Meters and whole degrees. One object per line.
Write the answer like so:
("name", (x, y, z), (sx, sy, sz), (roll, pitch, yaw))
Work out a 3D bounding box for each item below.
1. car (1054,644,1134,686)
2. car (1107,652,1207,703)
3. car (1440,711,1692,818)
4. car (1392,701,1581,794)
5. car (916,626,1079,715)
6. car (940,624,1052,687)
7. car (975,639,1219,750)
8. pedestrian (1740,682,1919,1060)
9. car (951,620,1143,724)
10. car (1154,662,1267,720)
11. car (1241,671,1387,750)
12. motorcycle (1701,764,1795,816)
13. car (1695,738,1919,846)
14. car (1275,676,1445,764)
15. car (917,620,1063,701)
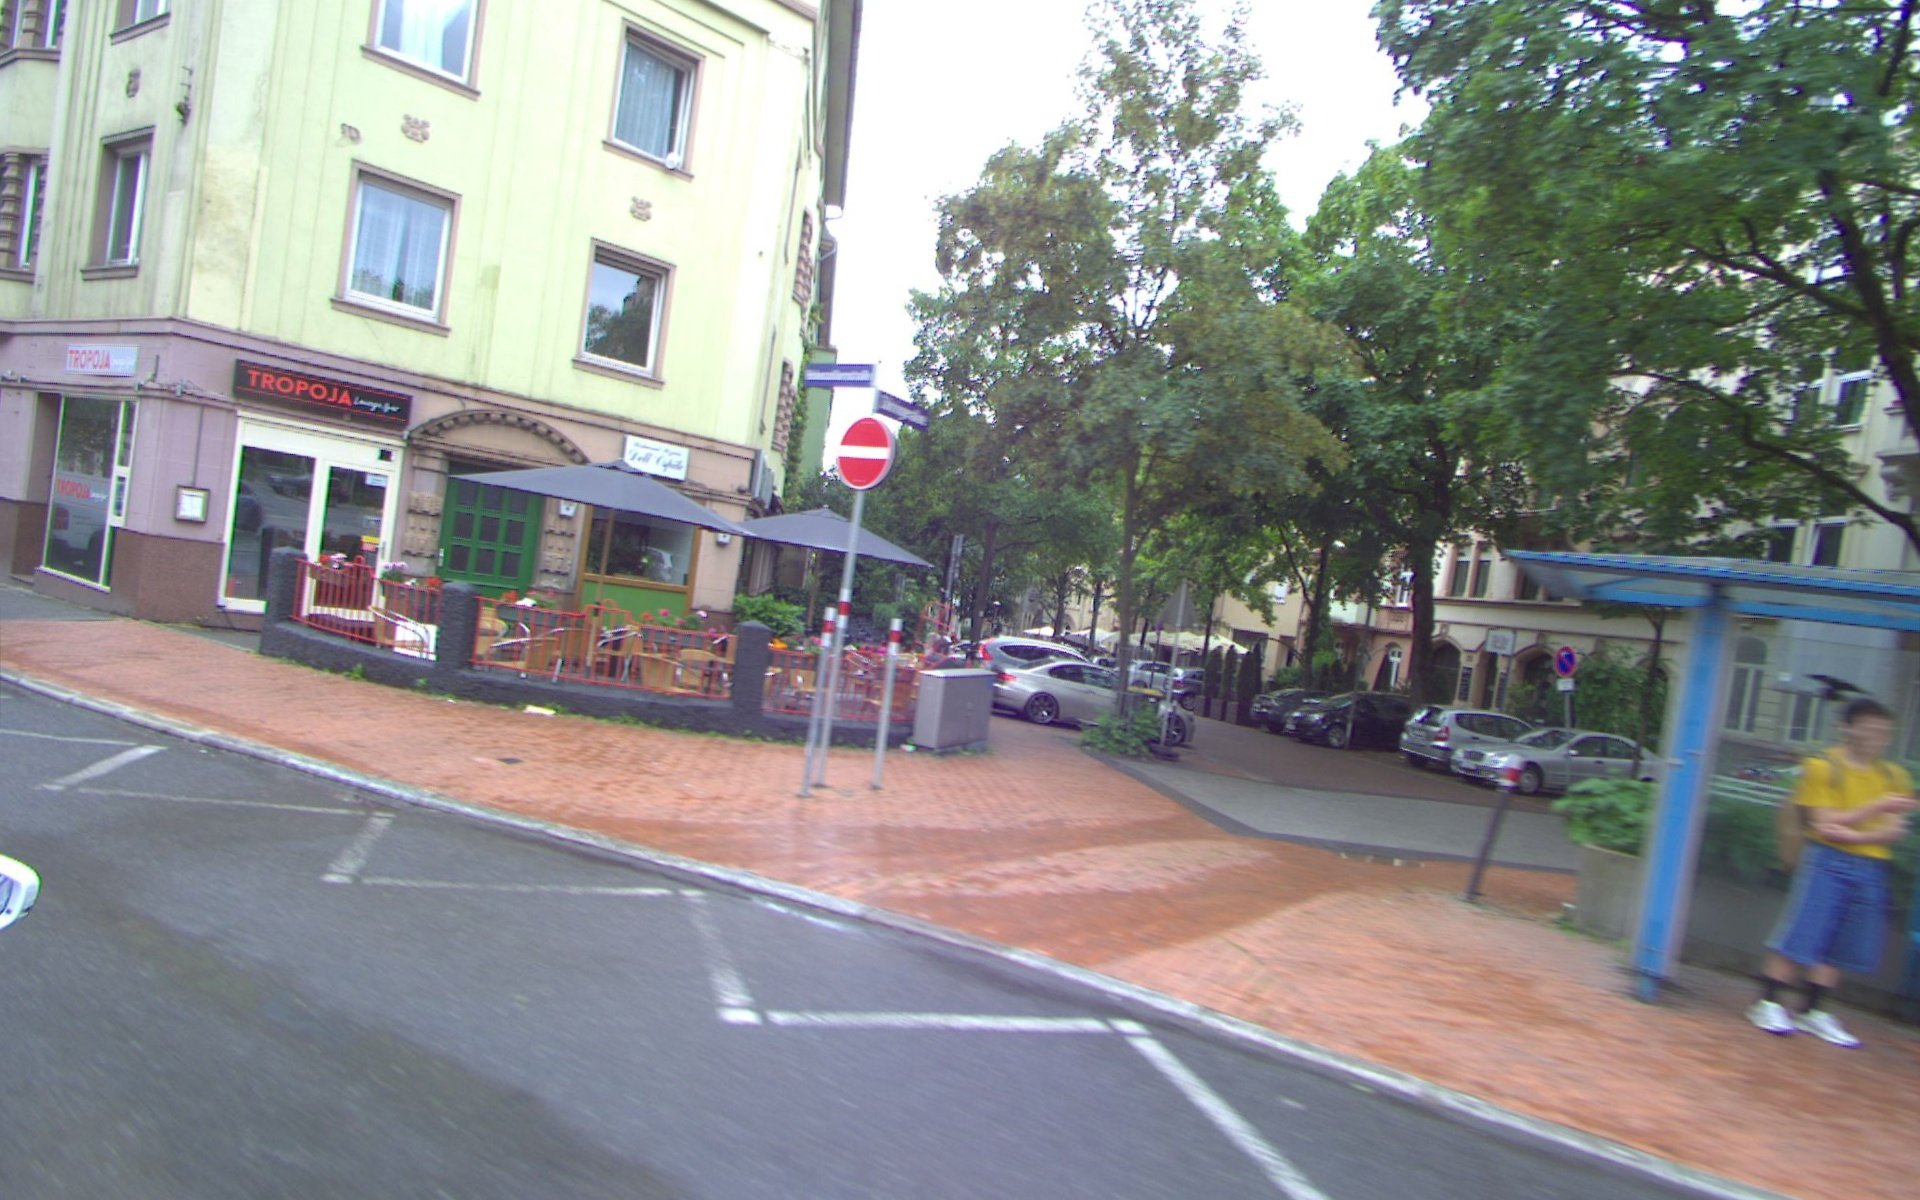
("car", (6.899, 3.350, 51.966), (3.591, 1.554, 1.680), (9, -2, -9))
("car", (8.229, 3.233, 42.173), (3.591, 1.554, 1.680), (9, -2, -9))
("car", (12.459, 3.364, 20.776), (4.263, 1.411, 1.706), (9, -2, -9))
("car", (12.001, 3.345, 23.014), (3.443, 1.481, 1.589), (9, -2, -9))
("car", (0.960, 1.864, 27.115), (3.934, 1.747, 1.791), (9, -2, -9))
("car", (1.339, 2.102, 38.286), (3.833, 1.767, 1.791), (9, -2, -9))
("car", (2.794, 1.939, 20.958), (4.571, 1.545, 1.791), (9, -2, -9))
("pedestrian", (4.651, 1.385, 5.310), (0.555, 1.795, 0.540), (9, -1, -36))
("car", (1.952, 1.631, 23.195), (3.934, 1.747, 1.791), (9, -2, -9))
("car", (9.336, 3.399, 37.605), (3.591, 1.554, 1.680), (9, -2, -9))
("car", (10.420, 3.249, 29.699), (3.591, 1.685, 1.589), (9, -2, -9))
("motorcycle", (16.954, 4.091, 21.662), (1.598, 0.934, 0.448), (4, -1, 1))
("car", (16.746, 3.692, 19.389), (3.931, 1.546, 1.874), (6, -1, -9))
("car", (10.680, 3.187, 26.963), (3.719, 1.685, 1.678), (9, -2, -6))
("car", (0.876, 1.805, 30.274), (3.934, 1.809, 1.791), (9, -2, -9))
